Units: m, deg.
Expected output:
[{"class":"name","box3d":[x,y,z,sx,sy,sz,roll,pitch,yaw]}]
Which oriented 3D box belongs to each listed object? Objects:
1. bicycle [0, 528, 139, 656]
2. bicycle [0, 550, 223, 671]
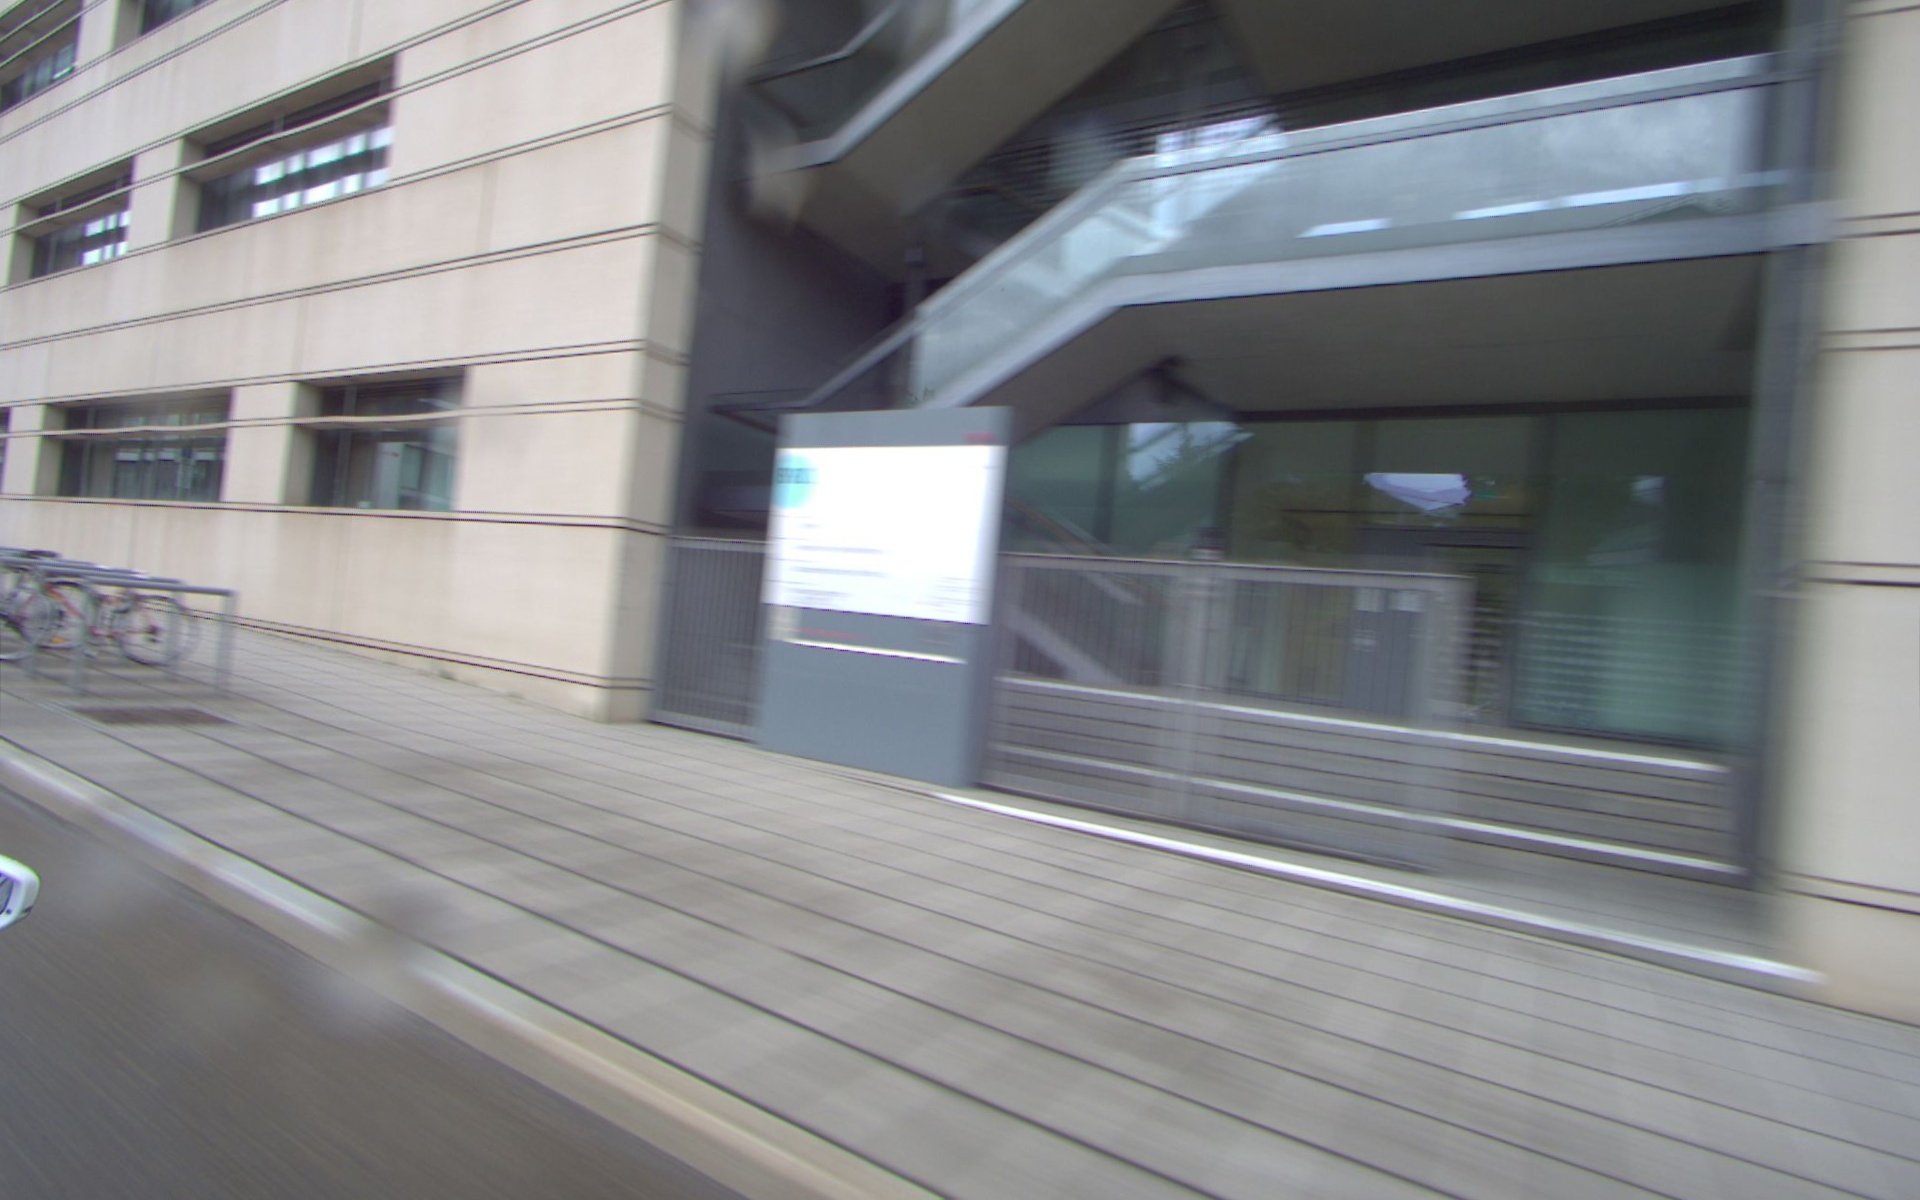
[{"class":"bicycle","box3d":[-8.993,-0.099,9.495,0.648,1.132,1.734,6,-1,26]},{"class":"bicycle","box3d":[-8.008,0.119,9.291,0.648,0.964,1.763,6,-2,28]}]
